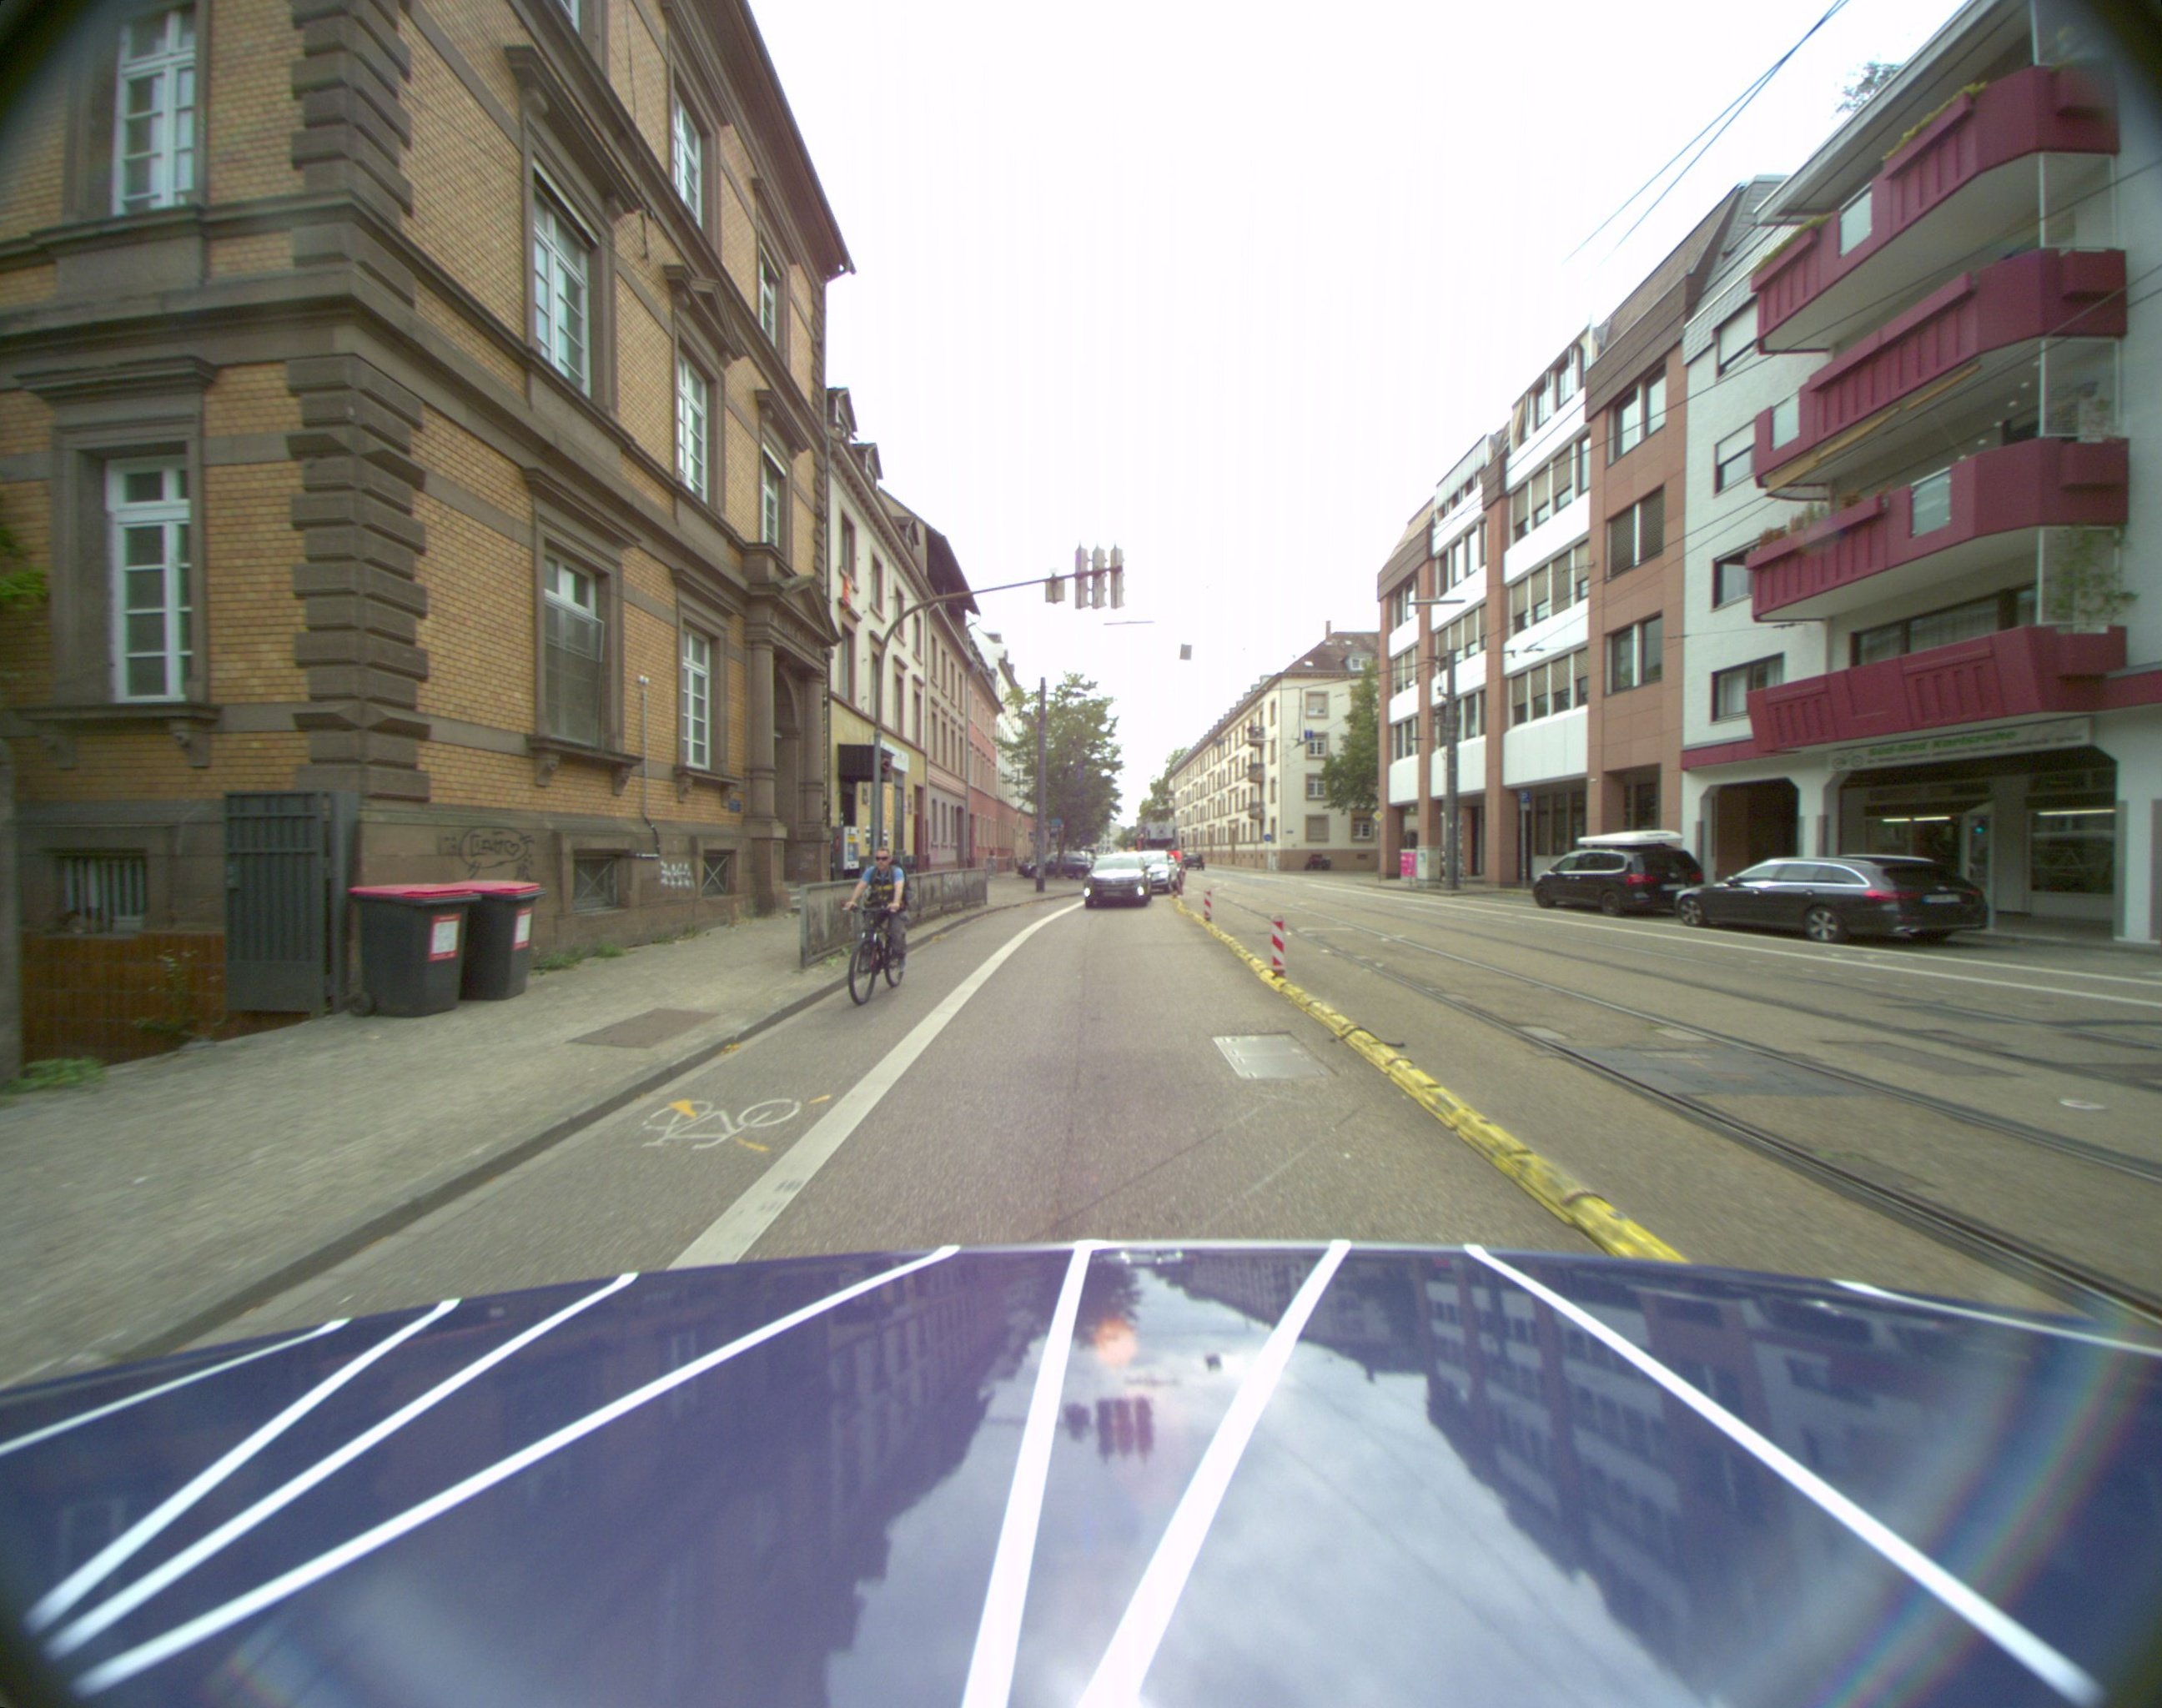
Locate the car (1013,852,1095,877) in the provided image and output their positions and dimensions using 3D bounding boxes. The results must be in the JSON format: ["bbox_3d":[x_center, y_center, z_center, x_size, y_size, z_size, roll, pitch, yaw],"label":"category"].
[{"bbox_3d":[-1.644,0.640,46.265,4.634,1.464,1.786,1,0,-22],"label":"car"}]

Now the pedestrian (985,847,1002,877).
[{"bbox_3d":[-4.999,0.457,43.263,0.732,1.678,0.926,3,1,2],"label":"pedestrian"}]

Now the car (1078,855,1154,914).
[{"bbox_3d":[1.158,0.830,22.788,1.772,1.538,4.285,-2,0,9],"label":"car"}]

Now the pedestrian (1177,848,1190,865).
[{"bbox_3d":[11.463,0.271,85.185,1.016,1.831,1.003,0,1,43],"label":"pedestrian"}]

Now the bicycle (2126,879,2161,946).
[{"bbox_3d":[15.973,0.853,10.553,0.566,0.948,1.649,0,0,-5],"label":"bicycle"}]

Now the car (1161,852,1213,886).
[{"bbox_3d":[5.266,0.687,37.325,1.771,1.526,4.054,-2,0,18],"label":"car"}]

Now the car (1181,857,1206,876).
[{"bbox_3d":[9.791,1.087,66.246,1.773,1.528,4.049,-2,0,3],"label":"car"}]

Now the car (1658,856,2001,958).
[{"bbox_3d":[13.276,0.816,14.013,1.758,1.471,4.698,-3,0,2],"label":"car"}]

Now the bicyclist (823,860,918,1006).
[{"bbox_3d":[-2.290,0.828,8.378,0.715,1.498,0.918,-3,0,1],"label":"bicyclist"}]

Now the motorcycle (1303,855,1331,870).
[{"bbox_3d":[17.999,0.640,57.926,1.924,1.080,0.793,0,1,2],"label":"motorcycle"}]

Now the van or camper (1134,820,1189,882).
[{"bbox_3d":[4.788,-0.187,47.109,2.607,3.401,9.653,-1,0,1],"label":"van or camper"}]

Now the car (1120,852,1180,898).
[{"bbox_3d":[2.755,0.748,29.488,1.771,1.582,4.286,-2,0,12],"label":"car"}]

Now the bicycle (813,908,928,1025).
[{"bbox_3d":[-2.273,1.177,8.443,0.714,1.012,1.800,-2,0,1],"label":"bicycle"}]

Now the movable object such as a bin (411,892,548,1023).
[{"bbox_3d":[-5.508,0.925,6.994,0.665,1.076,0.701,3,1,-1],"label":"movable object such as a bin"}]

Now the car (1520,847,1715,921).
[{"bbox_3d":[13.653,0.680,19.754,1.811,1.637,4.698,-3,0,2],"label":"car"}]

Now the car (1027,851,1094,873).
[{"bbox_3d":[-1.426,0.563,53.338,4.350,1.471,1.786,1,0,-22],"label":"car"}]

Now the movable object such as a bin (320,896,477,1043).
[{"bbox_3d":[-5.610,0.926,6.283,0.652,1.076,0.677,3,1,-2],"label":"movable object such as a bin"}]

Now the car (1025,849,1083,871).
[{"bbox_3d":[-2.136,0.506,60.519,4.244,1.688,1.736,1,0,-22],"label":"car"}]

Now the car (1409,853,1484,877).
[{"bbox_3d":[21.182,0.619,44.098,3.649,1.380,1.611,0,0,-7],"label":"car"}]

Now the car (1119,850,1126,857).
[{"bbox_3d":[11.792,-0.081,213.797,1.899,1.806,4.001,0,0,3],"label":"car"}]
